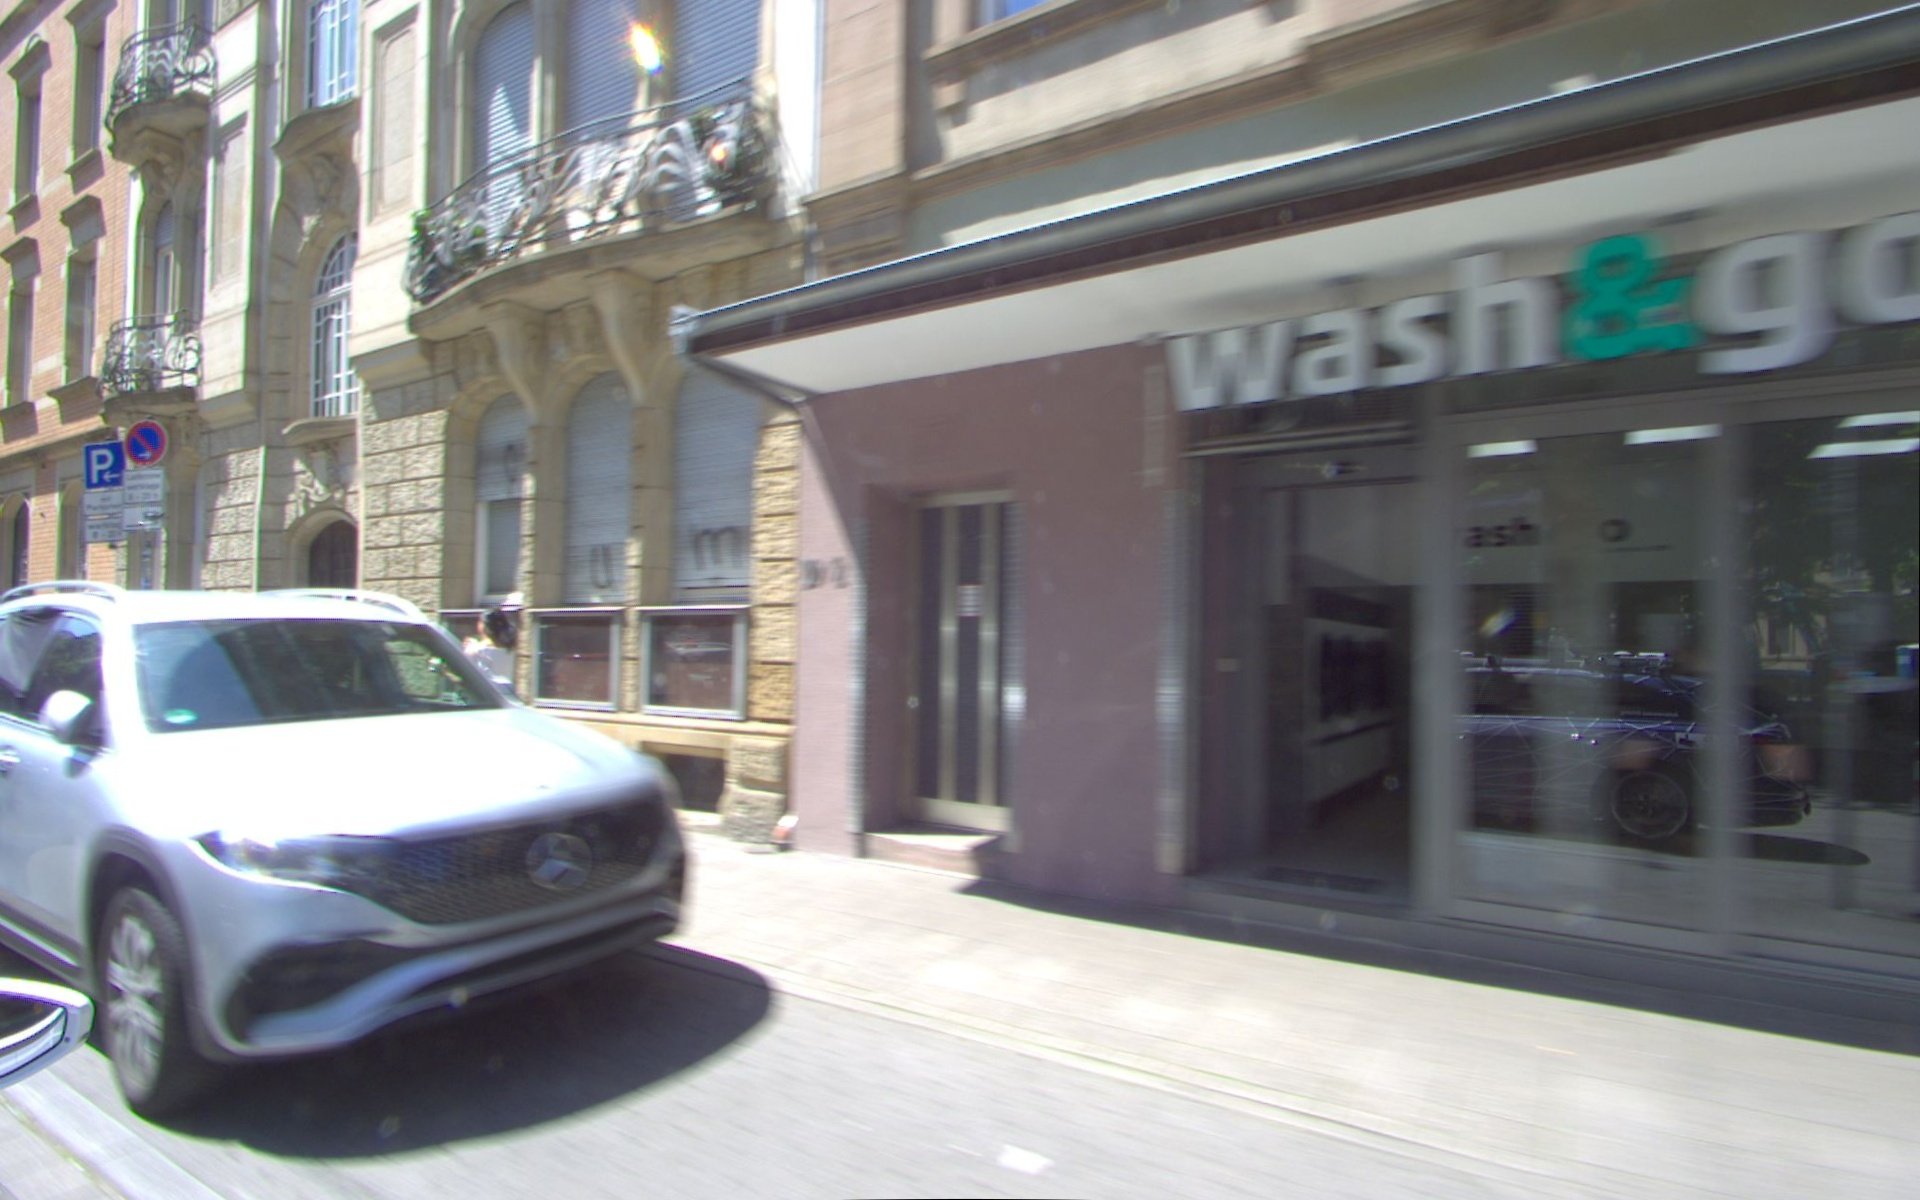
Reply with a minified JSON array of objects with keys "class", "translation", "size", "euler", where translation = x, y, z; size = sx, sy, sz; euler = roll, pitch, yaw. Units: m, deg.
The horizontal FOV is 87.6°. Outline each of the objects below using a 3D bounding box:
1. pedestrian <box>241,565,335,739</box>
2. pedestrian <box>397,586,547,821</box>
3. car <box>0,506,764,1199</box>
[{"class":"pedestrian","translation":[-7.123,0.533,10.619],"size":[0.737,1.773,0.512],"euler":[1,0,26]},{"class":"pedestrian","translation":[-3.656,0.745,7.513],"size":[0.793,1.644,0.640],"euler":[0,-2,33]},{"class":"car","translation":[-3.150,0.686,4.550],"size":[4.442,1.735,1.867],"euler":[-1,-2,34]}]
